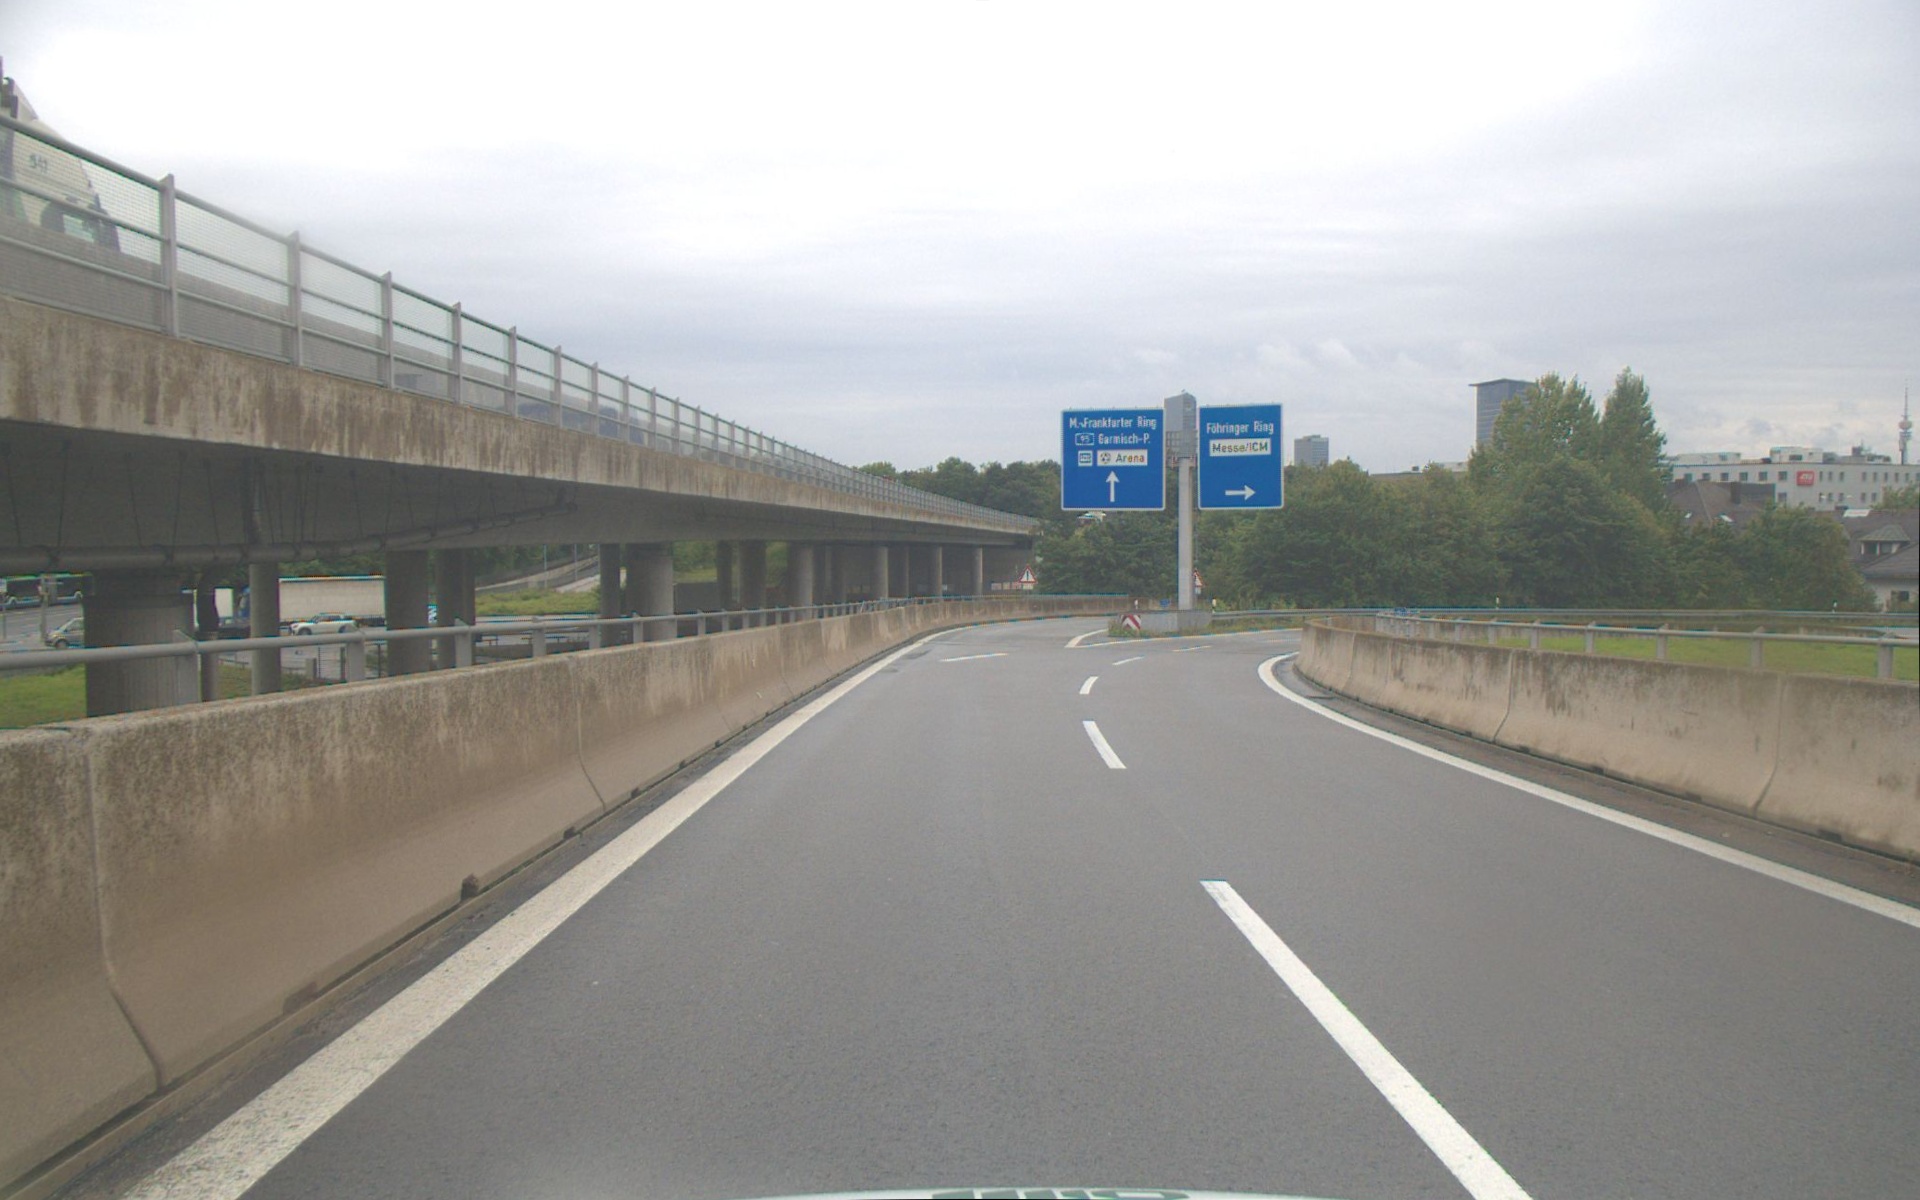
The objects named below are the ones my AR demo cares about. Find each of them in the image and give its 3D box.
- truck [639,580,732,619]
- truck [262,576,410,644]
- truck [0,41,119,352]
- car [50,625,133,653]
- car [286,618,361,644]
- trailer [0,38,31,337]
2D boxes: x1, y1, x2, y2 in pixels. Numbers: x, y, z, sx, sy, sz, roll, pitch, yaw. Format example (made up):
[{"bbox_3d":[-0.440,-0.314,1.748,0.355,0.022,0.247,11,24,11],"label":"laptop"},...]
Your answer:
[{"bbox_3d":[-21.974,-0.029,132.506,7.141,3.029,2.235,0,0,-33],"label":"truck"},{"bbox_3d":[-44.444,0.655,117.978,9.483,4.672,2.767,-1,0,-33],"label":"truck"},{"bbox_3d":[-12.370,-4.832,19.218,2.535,3.301,5.196,1,3,0],"label":"truck"},{"bbox_3d":[-55.987,2.481,106.605,4.539,1.634,1.951,-1,0,-36],"label":"car"},{"bbox_3d":[-44.113,2.136,114.661,4.538,1.611,1.951,-1,0,-35],"label":"car"},{"bbox_3d":[-12.353,-4.545,12.642,2.603,3.355,14.064,1,2,0],"label":"trailer"}]
